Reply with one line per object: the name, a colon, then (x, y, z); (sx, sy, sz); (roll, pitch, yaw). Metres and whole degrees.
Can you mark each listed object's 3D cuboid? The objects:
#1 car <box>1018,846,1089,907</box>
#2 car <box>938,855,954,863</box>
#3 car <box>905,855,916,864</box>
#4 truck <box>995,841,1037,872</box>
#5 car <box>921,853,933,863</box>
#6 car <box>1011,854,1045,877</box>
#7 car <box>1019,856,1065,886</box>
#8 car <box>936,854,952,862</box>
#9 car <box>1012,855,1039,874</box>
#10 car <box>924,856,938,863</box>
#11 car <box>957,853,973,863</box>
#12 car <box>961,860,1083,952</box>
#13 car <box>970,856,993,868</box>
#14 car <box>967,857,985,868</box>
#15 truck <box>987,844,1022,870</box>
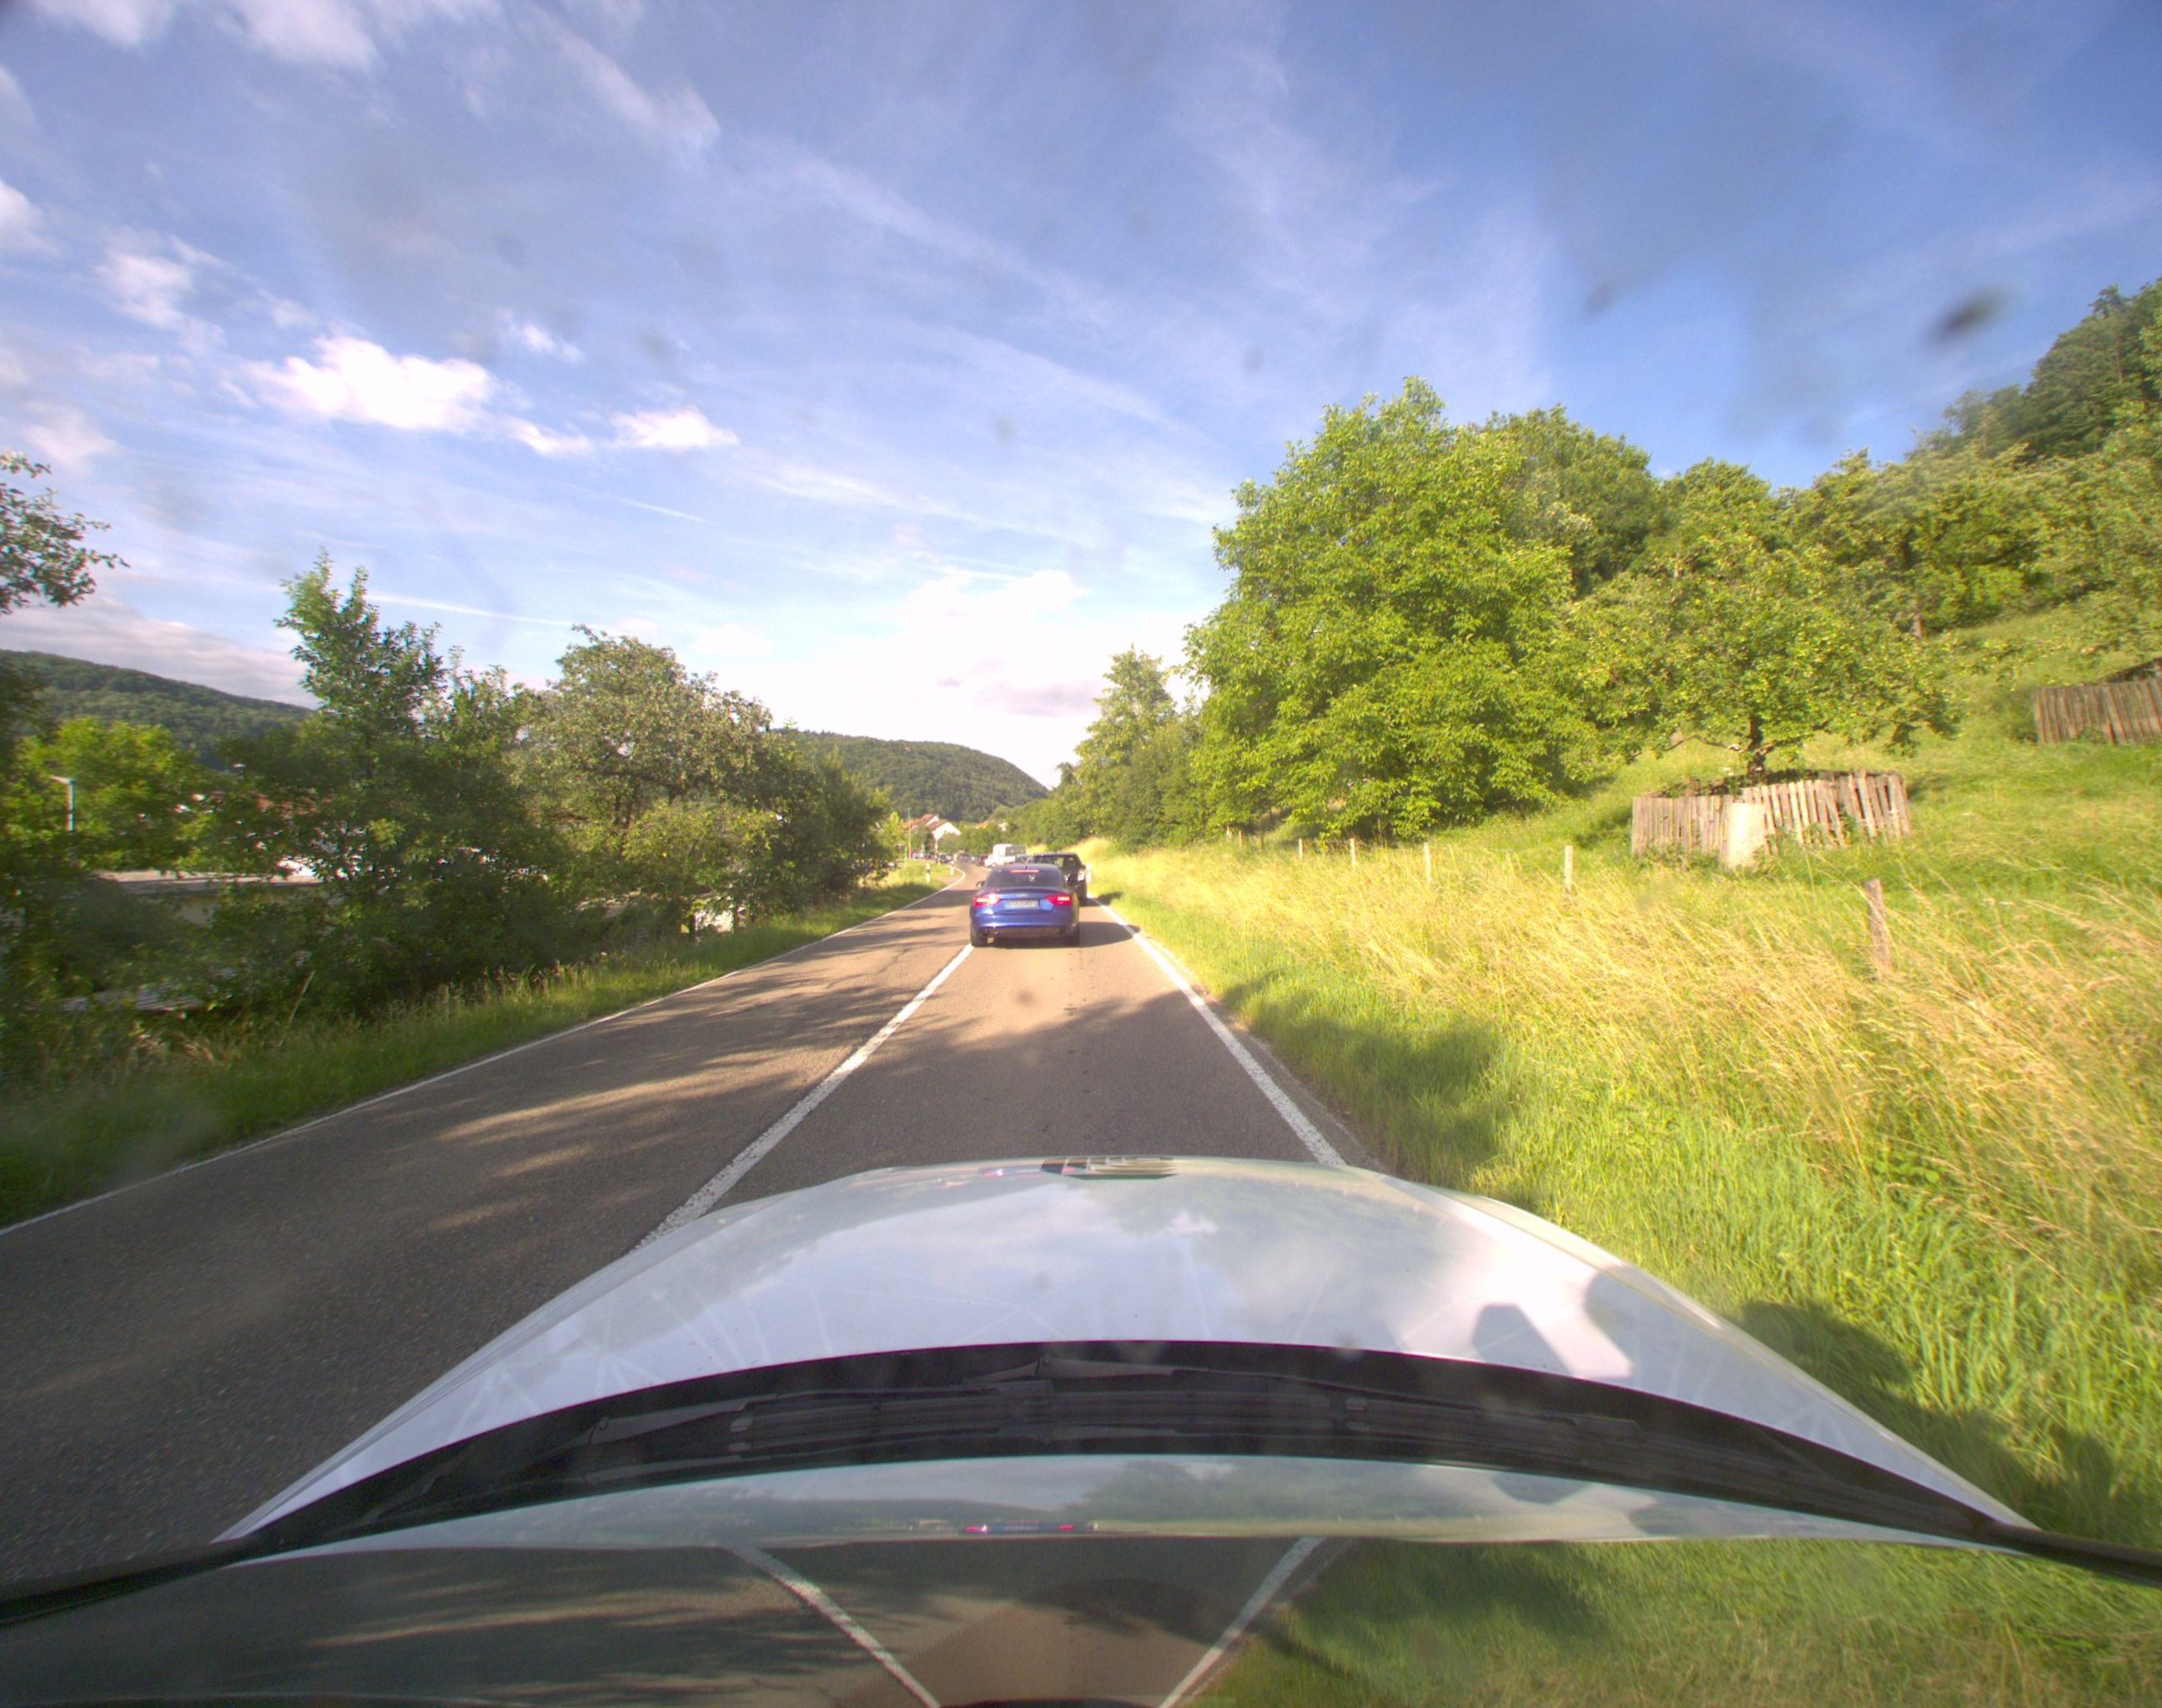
car: (-0.750, 0.641, 24.960); (1.987, 1.702, 4.000); (-1, -1, 0)
car: (-24.646, 0.962, 148.651); (2.002, 1.482, 3.970); (0, -1, -22)
car: (-39.370, 1.187, 187.888); (2.001, 2.014, 3.972); (0, -1, -21)
truck: (-6.266, 0.229, 76.875); (2.865, 2.665, 10.355); (0, 0, -10)
car: (-32.302, 0.787, 170.757); (2.001, 2.014, 3.972); (0, -1, -21)
car: (-3.611, 0.778, 55.222); (1.993, 1.482, 3.988); (-1, -1, -8)
car: (-1.956, 0.797, 39.847); (1.991, 1.387, 3.990); (-1, -1, -7)
car: (-22.048, 0.641, 130.861); (1.998, 1.376, 3.978); (0, -1, -16)
car: (-4.512, 0.841, 65.501); (1.992, 1.482, 3.990); (-1, -1, -7)
car: (-29.960, 1.104, 162.813); (2.002, 1.482, 3.970); (0, -1, -22)
car: (-18.849, 0.633, 132.167); (1.998, 1.482, 3.978); (0, -1, -16)
car: (-0.912, 0.826, 14.698); (1.787, 1.360, 4.001); (-1, 0, 1)
car: (-12.493, 0.984, 102.076); (2.000, 1.482, 3.973); (0, -1, -20)
car: (-15.601, 1.253, 121.034); (1.998, 1.482, 3.978); (0, -1, -16)
truck: (-8.393, 0.314, 88.449); (2.865, 2.665, 10.606); (0, 0, -10)
